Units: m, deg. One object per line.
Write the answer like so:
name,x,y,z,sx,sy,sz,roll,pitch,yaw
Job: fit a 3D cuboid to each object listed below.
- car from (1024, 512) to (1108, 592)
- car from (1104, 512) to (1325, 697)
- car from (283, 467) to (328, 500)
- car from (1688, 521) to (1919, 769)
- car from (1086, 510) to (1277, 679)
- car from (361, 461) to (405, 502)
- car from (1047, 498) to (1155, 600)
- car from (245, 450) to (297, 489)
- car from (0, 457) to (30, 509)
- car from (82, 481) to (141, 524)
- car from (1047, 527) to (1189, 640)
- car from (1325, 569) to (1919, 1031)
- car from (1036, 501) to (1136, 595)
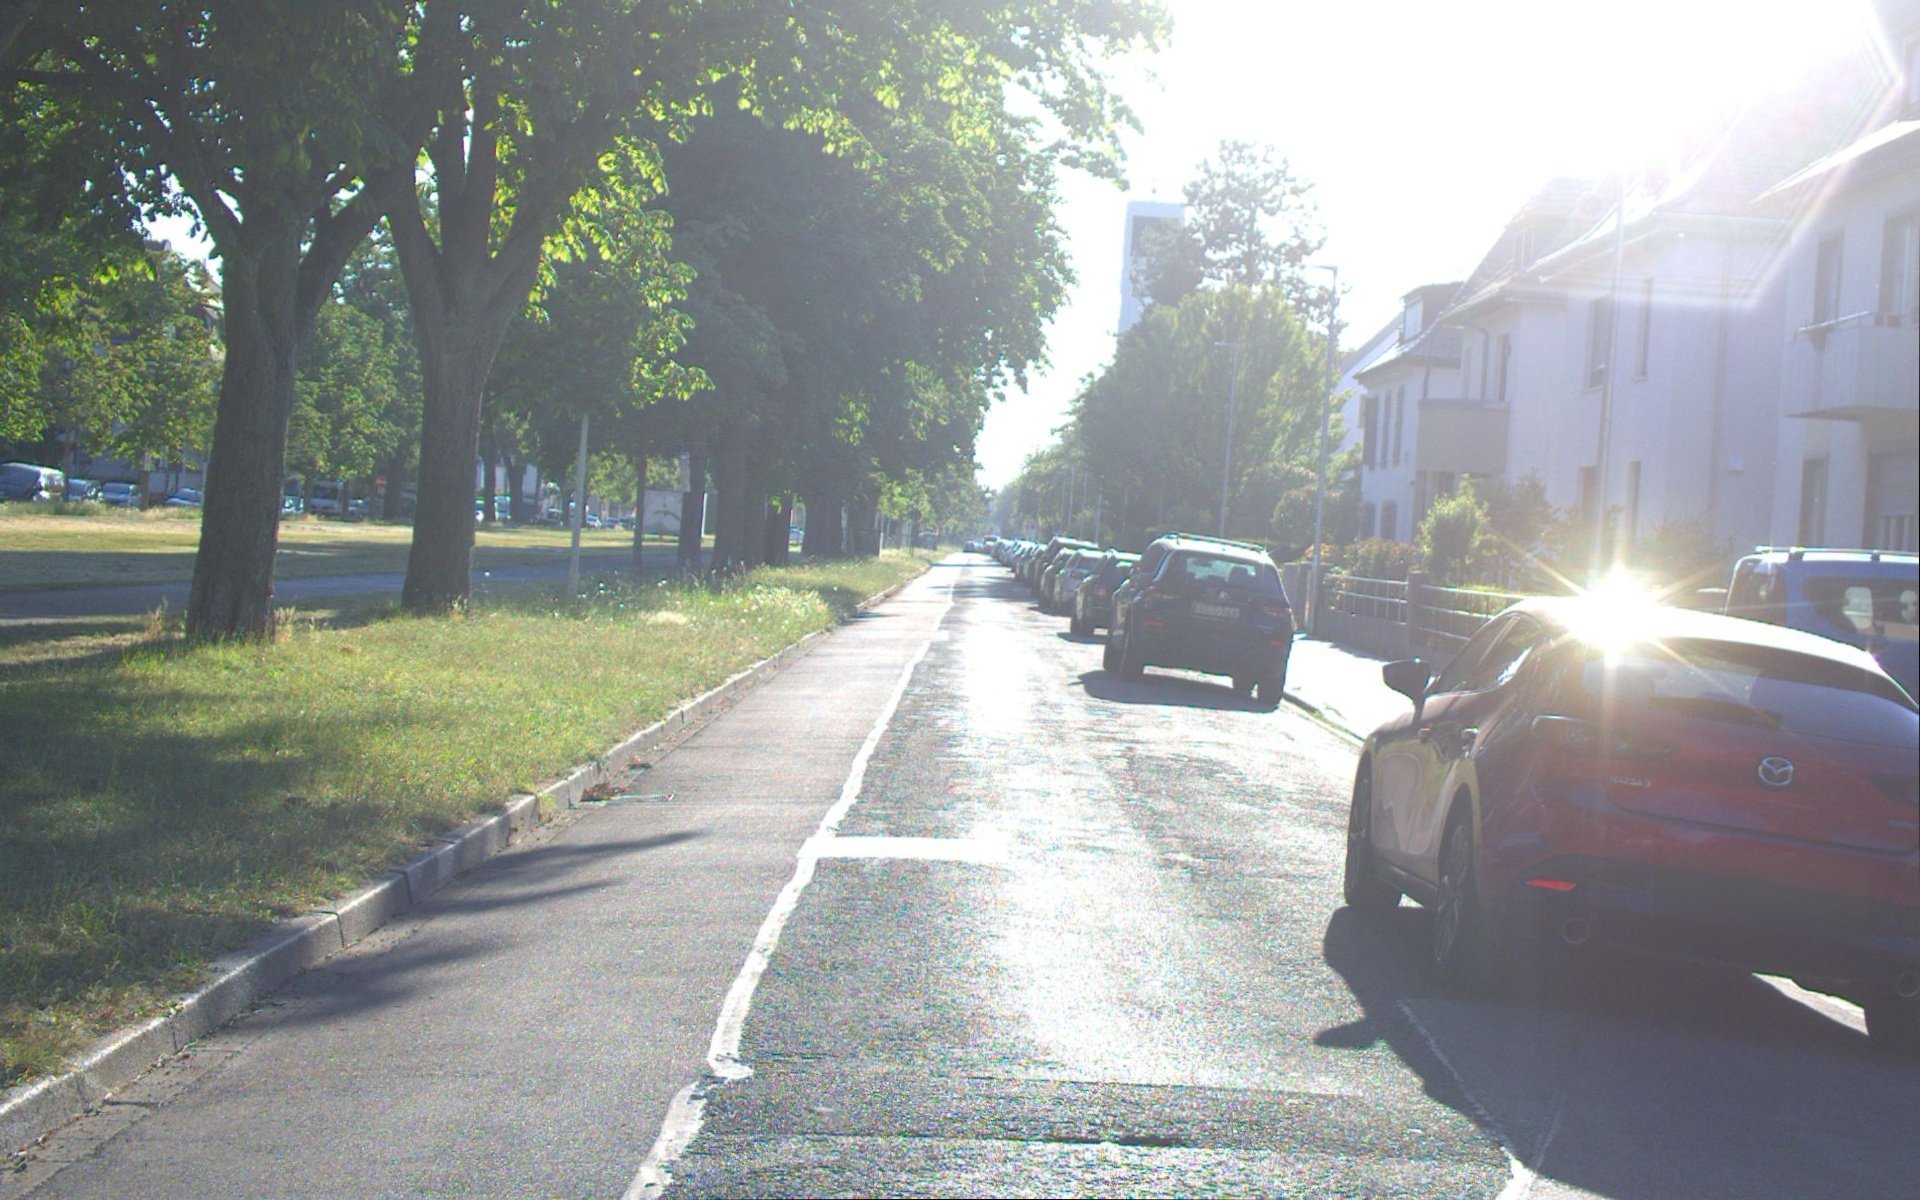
car,2.953,-1.335,96.780,1.993,2.007,4.000,6,0,-1
car,2.826,-0.003,39.023,1.993,1.775,4.000,6,1,-1
car,-40.431,-7.182,212.305,1.879,1.746,3.797,6,0,0
car,8.244,0.467,28.326,3.986,1.816,1.760,4,-5,-4
car,2.747,-0.081,43.479,1.882,1.853,4.000,6,0,-1
car,-31.955,-6.579,190.456,1.654,1.931,3.567,6,-1,0
car,3.124,-1.120,76.890,1.993,2.007,4.000,6,0,-1
car,-39.420,-7.453,196.868,1.993,1.906,4.000,6,0,0
car,-34.914,-4.280,123.823,1.728,1.684,3.879,6,-1,-1
car,-39.496,-4.530,160.144,1.729,1.756,3.346,6,0,0
car,2.565,-0.269,56.826,1.993,1.648,4.000,5,0,-1
car,2.554,0.655,13.346,1.710,1.355,4.203,6,0,0
car,2.997,-1.229,82.481,1.993,2.007,4.000,6,0,-1
